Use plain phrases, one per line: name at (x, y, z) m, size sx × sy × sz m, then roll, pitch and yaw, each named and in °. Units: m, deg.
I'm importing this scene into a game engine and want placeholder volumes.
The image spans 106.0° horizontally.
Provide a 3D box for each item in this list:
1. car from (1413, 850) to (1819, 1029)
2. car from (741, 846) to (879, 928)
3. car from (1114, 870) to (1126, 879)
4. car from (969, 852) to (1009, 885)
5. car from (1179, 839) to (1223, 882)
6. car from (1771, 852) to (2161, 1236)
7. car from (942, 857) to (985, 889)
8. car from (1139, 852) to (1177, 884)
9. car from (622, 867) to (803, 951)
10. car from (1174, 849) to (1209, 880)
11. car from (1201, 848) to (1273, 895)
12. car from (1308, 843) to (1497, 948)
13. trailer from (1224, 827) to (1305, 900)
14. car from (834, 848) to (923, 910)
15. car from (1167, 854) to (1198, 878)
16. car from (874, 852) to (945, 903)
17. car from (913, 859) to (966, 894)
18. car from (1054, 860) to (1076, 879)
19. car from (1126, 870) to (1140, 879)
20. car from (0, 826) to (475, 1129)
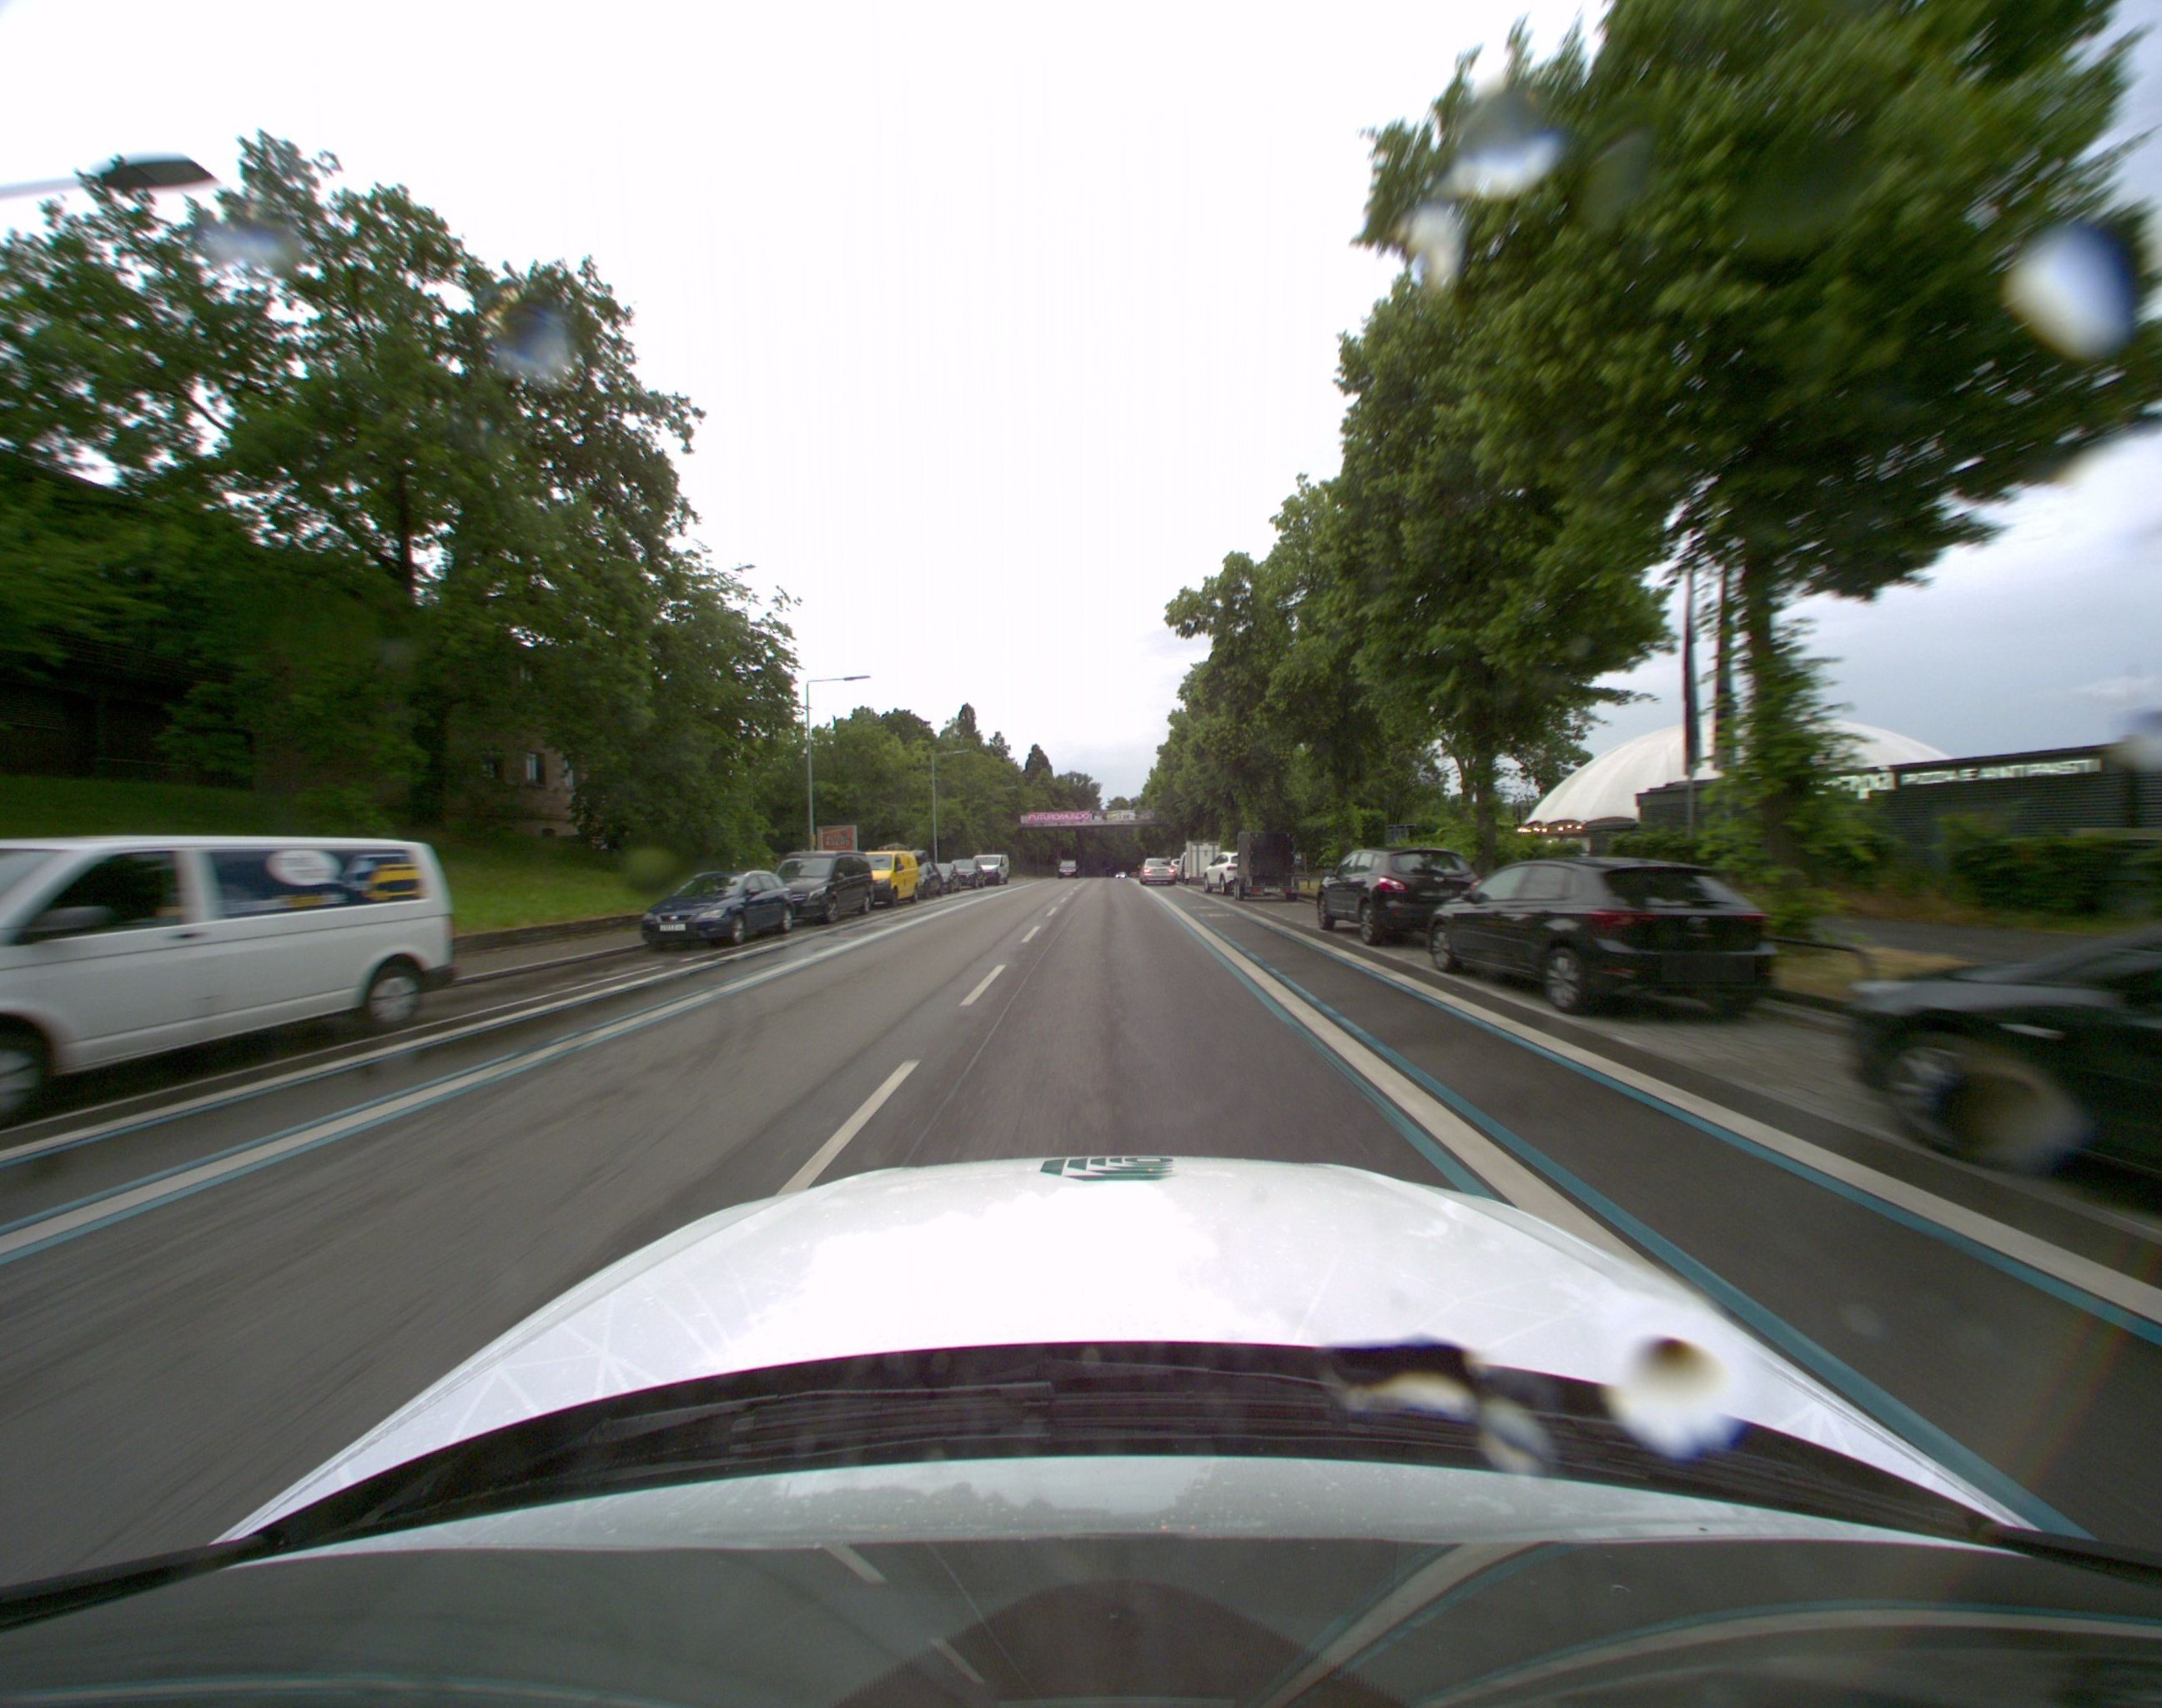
car at (5.278, 0.708, 8.804) m, size 1.725 × 1.463 × 4.072 m, roll -1°, pitch 0°, yaw 0°
car at (-7.341, 0.796, 22.730) m, size 1.983 × 1.946 × 5.143 m, roll -1°, pitch 1°, yaw 1°
car at (7.748, 4.129, 161.885) m, size 1.978 × 1.605 × 4.065 m, roll -2°, pitch 0°, yaw 9°
car at (-5.909, 0.914, 52.922) m, size 1.749 × 1.931 × 4.198 m, roll -1°, pitch 1°, yaw 4°
car at (6.341, 0.331, 43.286) m, size 1.881 × 2.127 × 4.048 m, roll -2°, pitch 0°, yaw 3°
car at (5.021, 0.738, 2.788) m, size 1.725 × 1.463 × 4.277 m, roll 0°, pitch 0°, yaw 0°
car at (-6.495, 1.022, 45.488) m, size 1.864 × 1.542 × 4.053 m, roll -2°, pitch 1°, yaw -1°
car at (4.113, 0.736, 43.940) m, size 1.725 × 1.583 × 4.038 m, roll -2°, pitch 0°, yaw 1°
car at (-7.572, 1.054, 17.269) m, size 1.725 × 1.390 × 4.371 m, roll -1°, pitch 1°, yaw 1°
car at (6.553, 0.590, 48.620) m, size 1.724 × 1.684 × 4.048 m, roll -2°, pitch 0°, yaw 3°
car at (5.792, 0.615, 30.727) m, size 1.727 × 1.583 × 4.150 m, roll -2°, pitch 0°, yaw -3°
car at (5.450, 0.626, 14.409) m, size 1.725 × 1.583 × 4.154 m, roll 0°, pitch 0°, yaw 0°
trailer at (5.901, 0.286, 26.609) m, size 1.876 × 2.166 × 3.810 m, roll -2°, pitch 0°, yaw 2°
car at (-7.065, 0.794, 28.989) m, size 1.876 × 1.945 × 4.826 m, roll -1°, pitch 1°, yaw 0°
car at (6.871, 0.794, 55.472) m, size 1.724 × 1.462 × 4.048 m, roll -2°, pitch 0°, yaw 3°
car at (-7.084, 0.922, 34.072) m, size 1.983 × 1.893 × 4.055 m, roll -1°, pitch 1°, yaw 1°
car at (-6.816, 1.052, 39.572) m, size 1.880 × 1.451 × 3.981 m, roll -2°, pitch 1°, yaw -1°
car at (-1.421, 1.345, 71.832) m, size 1.864 × 1.473 × 4.052 m, roll -2°, pitch 0°, yaw -1°
car at (9.766, 3.850, 153.061) m, size 2.128 × 1.492 × 4.509 m, roll -1°, pitch 1°, yaw 8°
car at (-7.844, 0.790, 6.685) m, size 1.906 × 1.931 × 4.929 m, roll -1°, pitch 1°, yaw 1°
